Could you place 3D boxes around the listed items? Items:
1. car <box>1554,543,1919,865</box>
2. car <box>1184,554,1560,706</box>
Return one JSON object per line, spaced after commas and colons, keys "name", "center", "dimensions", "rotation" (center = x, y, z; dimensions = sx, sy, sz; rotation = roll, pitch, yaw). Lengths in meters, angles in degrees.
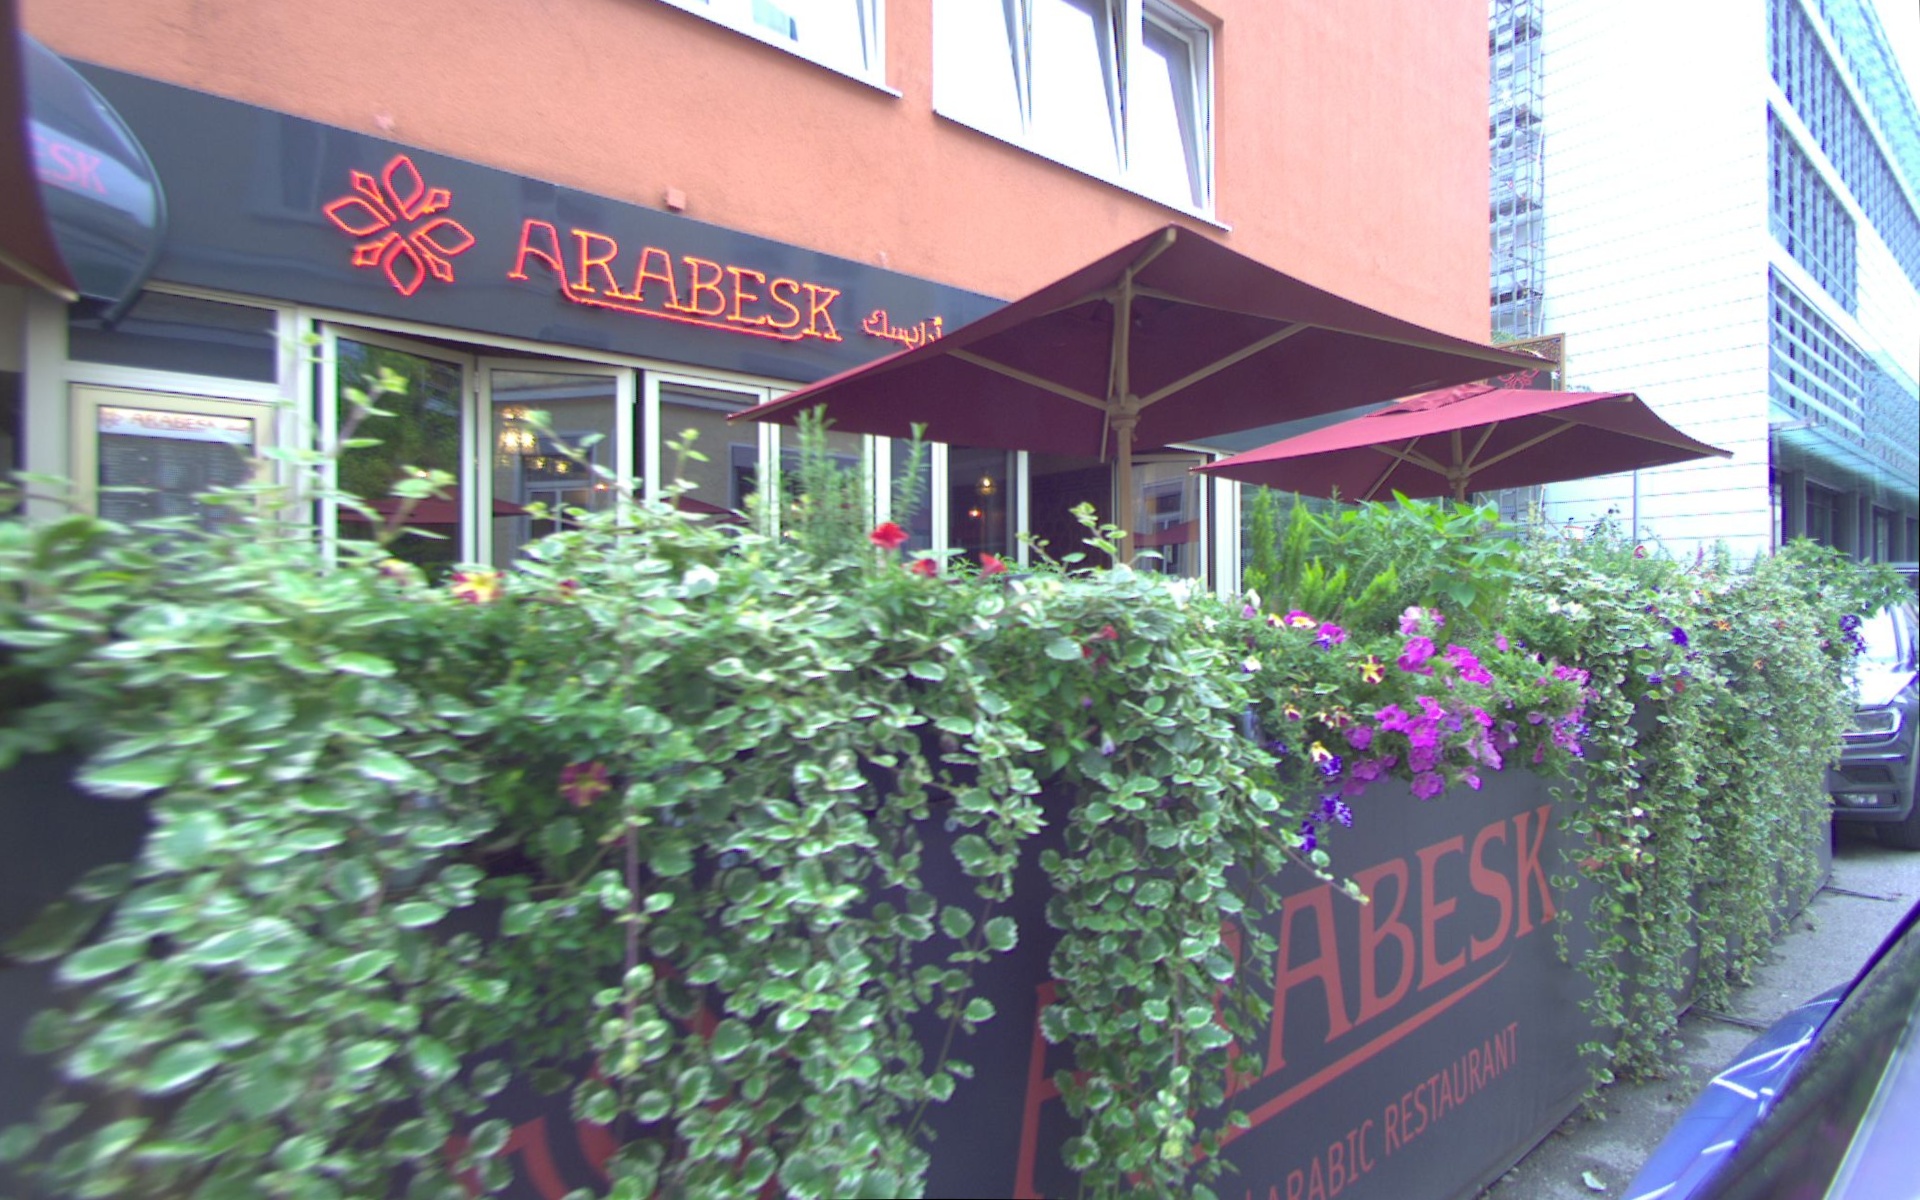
{"name": "car", "center": [6.287, 0.564, 7.501], "dimensions": [4.309, 1.732, 1.828], "rotation": [0, -1, -39]}
{"name": "car", "center": [5.452, 0.318, 13.908], "dimensions": [1.808, 1.742, 4.471], "rotation": [0, 1, -40]}
